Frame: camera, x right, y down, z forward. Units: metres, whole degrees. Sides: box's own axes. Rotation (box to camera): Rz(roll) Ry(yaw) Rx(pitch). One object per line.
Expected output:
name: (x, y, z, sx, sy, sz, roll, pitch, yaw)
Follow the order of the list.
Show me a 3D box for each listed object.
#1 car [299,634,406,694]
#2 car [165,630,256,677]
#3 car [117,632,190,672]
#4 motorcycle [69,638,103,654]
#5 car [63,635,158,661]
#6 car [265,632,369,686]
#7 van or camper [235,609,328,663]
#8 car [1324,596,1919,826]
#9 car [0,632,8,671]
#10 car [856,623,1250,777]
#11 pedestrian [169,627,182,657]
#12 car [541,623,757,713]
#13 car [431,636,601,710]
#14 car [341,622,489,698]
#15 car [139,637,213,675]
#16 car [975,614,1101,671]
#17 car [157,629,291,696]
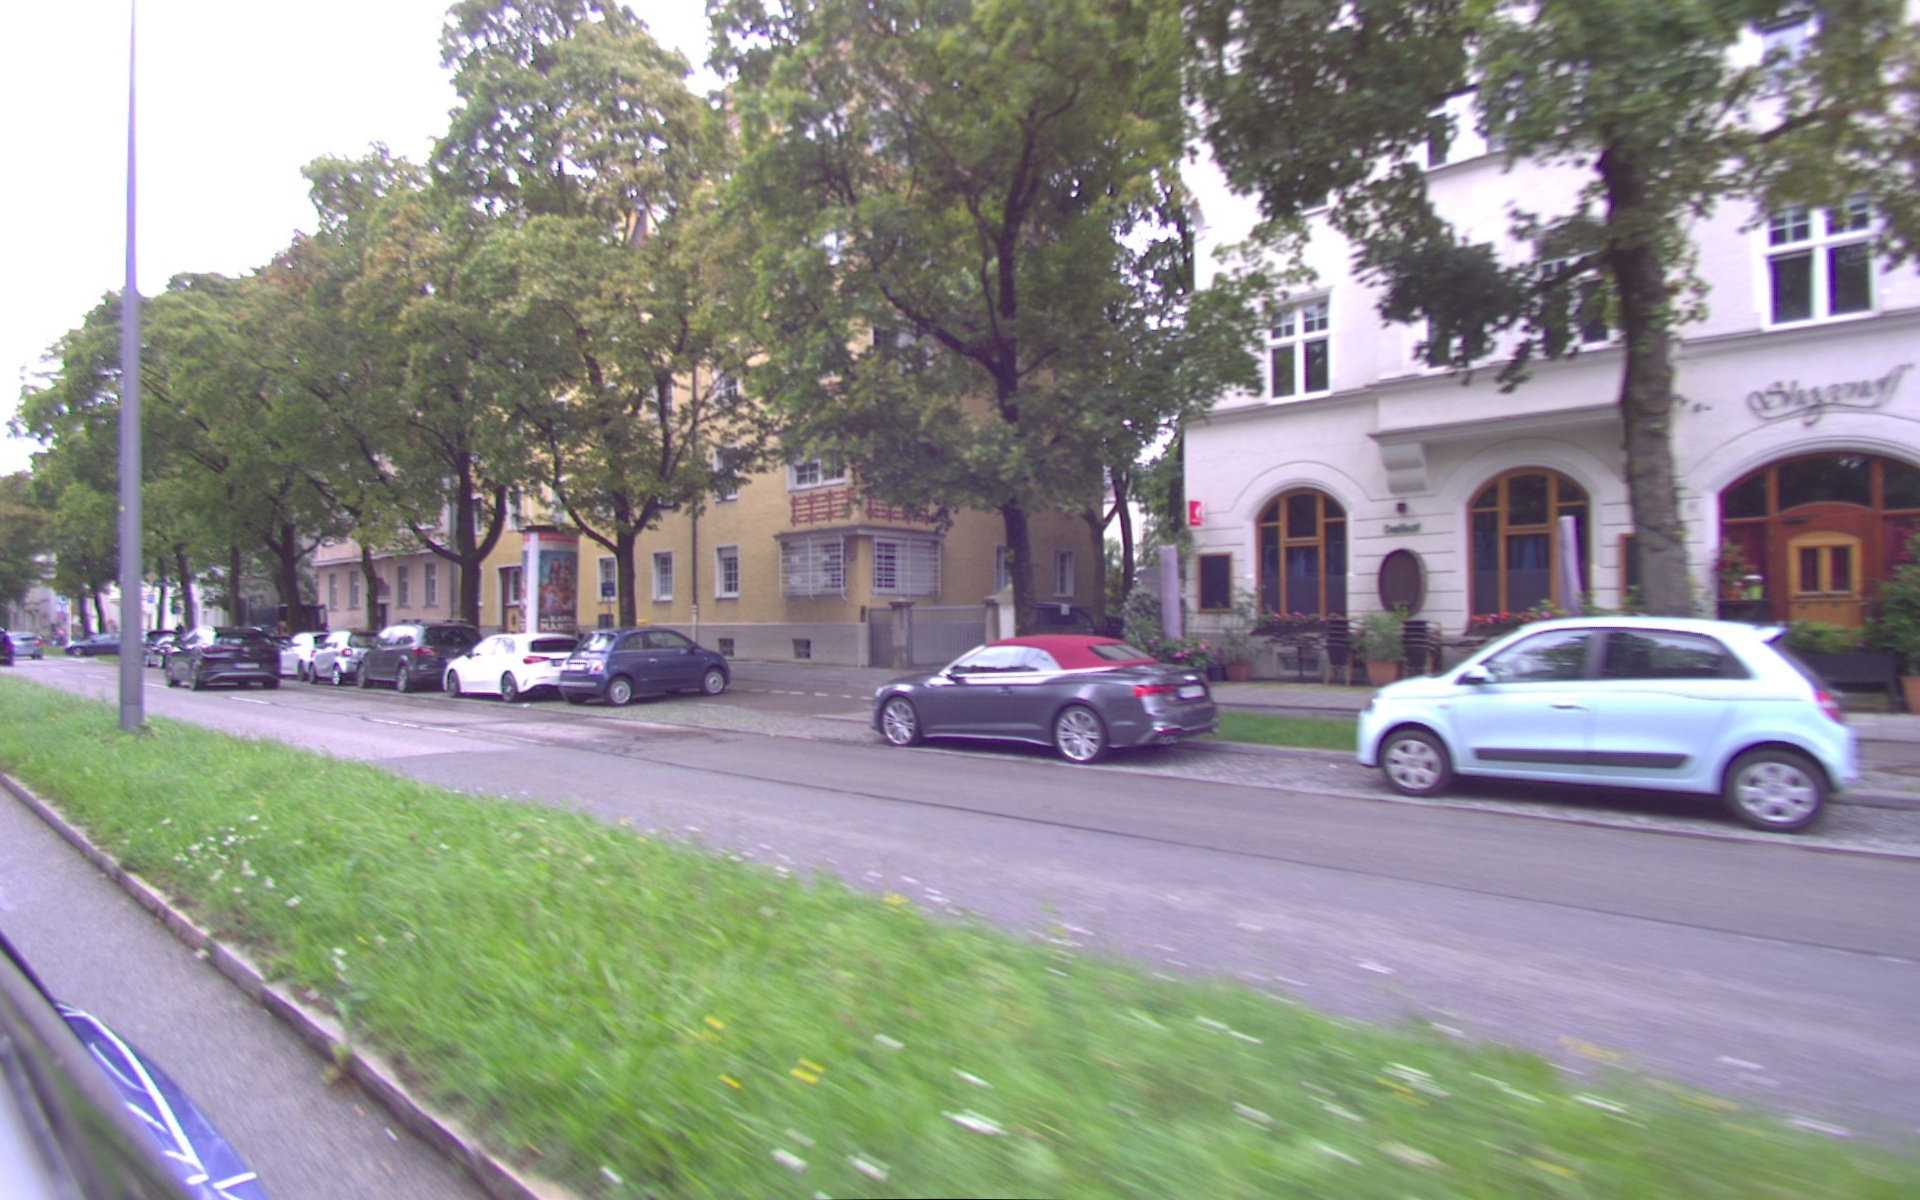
car: (-17.230, 1.769, 28.675, 3.007, 1.569, 1.709, -2, -2, 40)
car: (-28.567, 1.997, 38.524, 4.768, 1.658, 1.859, -2, -2, 42)
car: (-36.633, 2.343, 45.922, 4.436, 1.699, 1.854, -2, -2, 42)
motorcycle: (-67.762, 3.561, 78.496, 1.924, 1.158, 0.598, 0, -1, -28)
car: (-50.043, 2.817, 59.692, 3.931, 1.386, 1.868, -1, -2, -25)
car: (-20.172, 1.801, 31.671, 4.055, 1.573, 1.708, -2, -2, 42)
van or camper: (-34.980, 1.827, 52.098, 6.848, 2.599, 2.321, -2, -1, 42)
car: (5.441, 0.785, 8.692, 3.958, 1.518, 1.791, -2, -2, 42)
car: (-43.181, 2.234, 44.293, 4.367, 1.692, 1.751, -2, -3, 42)
car: (0.969, 1.081, 12.399, 4.643, 1.518, 1.791, -2, -2, 42)
pedestrian: (-55.683, 2.991, 71.843, 0.590, 2.075, 0.686, 0, -2, -29)
car: (-6.245, 1.304, 20.644, 1.731, 1.475, 3.851, -2, 0, 40)
car: (-9.690, 1.517, 21.943, 4.402, 1.413, 1.708, -2, -2, 42)
car: (-13.966, 1.468, 25.809, 4.765, 1.741, 1.791, -2, -2, 42)
car: (-32.845, 2.319, 42.372, 4.490, 1.465, 1.674, -2, -2, 42)
car: (2.326, 1.192, 29.519, 1.757, 1.521, 3.850, -2, -2, 40)
car: (-19.349, 1.601, 26.532, 4.619, 1.597, 1.855, -2, -4, 42)
